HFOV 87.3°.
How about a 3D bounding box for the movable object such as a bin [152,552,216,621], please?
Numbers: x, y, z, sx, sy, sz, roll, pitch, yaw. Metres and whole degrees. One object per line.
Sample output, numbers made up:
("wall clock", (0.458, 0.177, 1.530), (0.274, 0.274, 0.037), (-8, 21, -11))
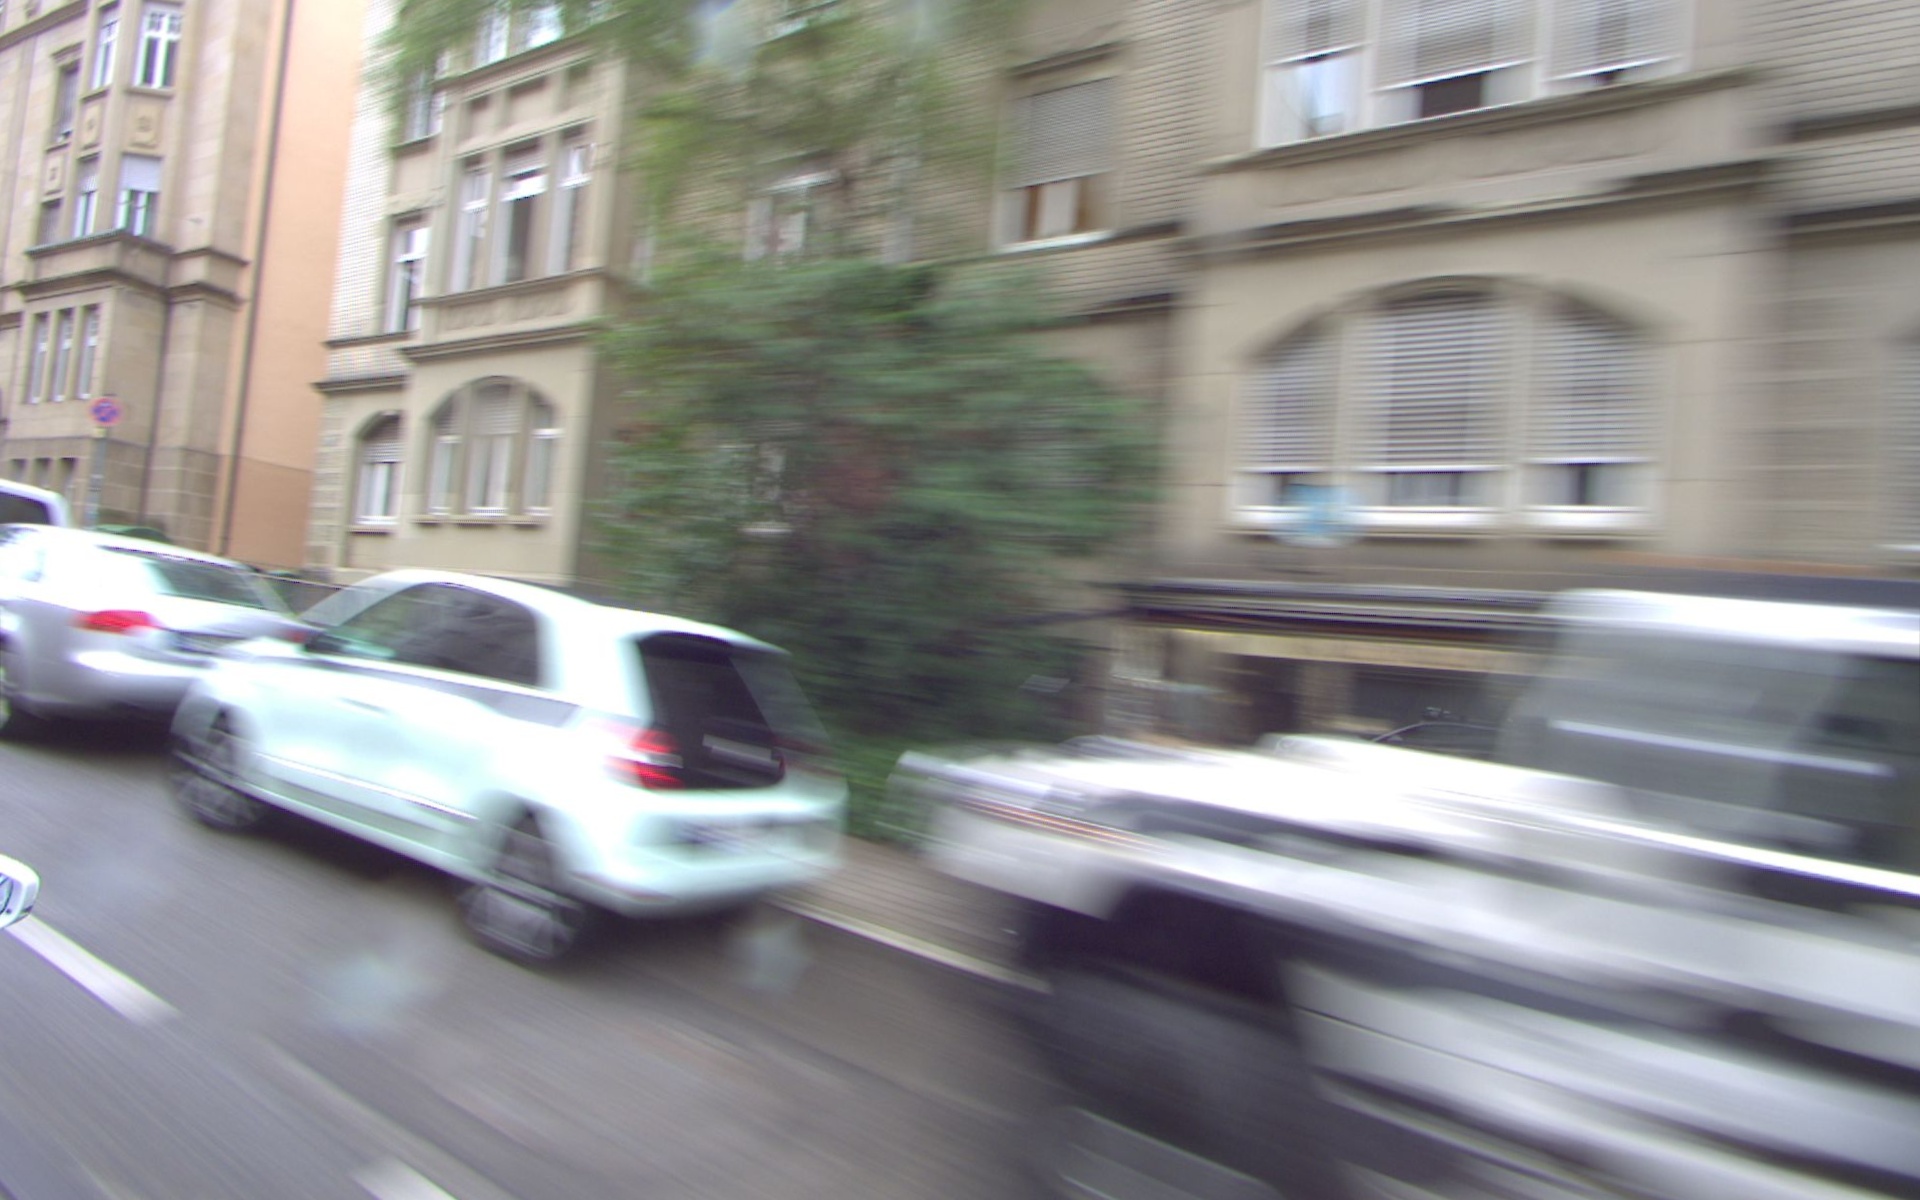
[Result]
("movable object such as a bin", (-13.049, -0.228, 16.917), (0.654, 1.040, 0.529), (6, -6, 36))

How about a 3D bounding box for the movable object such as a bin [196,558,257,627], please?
("movable object such as a bin", (-12.731, -0.137, 17.462), (0.599, 1.071, 0.501), (7, -5, 30))

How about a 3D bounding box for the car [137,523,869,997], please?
("car", (-2.484, 0.646, 5.370), (3.522, 1.562, 1.566), (7, -4, 29))

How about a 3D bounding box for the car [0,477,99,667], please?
("car", (-11.307, -0.557, 10.570), (4.386, 1.783, 1.804), (7, -4, 29))

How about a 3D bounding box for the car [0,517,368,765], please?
("car", (-6.861, 0.176, 7.891), (4.402, 1.415, 1.755), (7, -4, 31))

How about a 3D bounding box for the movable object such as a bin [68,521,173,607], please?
("movable object such as a bin", (-16.716, -0.708, 20.041), (1.257, 1.445, 0.976), (6, -6, 27))

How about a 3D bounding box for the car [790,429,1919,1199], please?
("car", (2.489, 0.993, 2.176), (5.259, 2.034, 2.137), (7, -4, 29))
